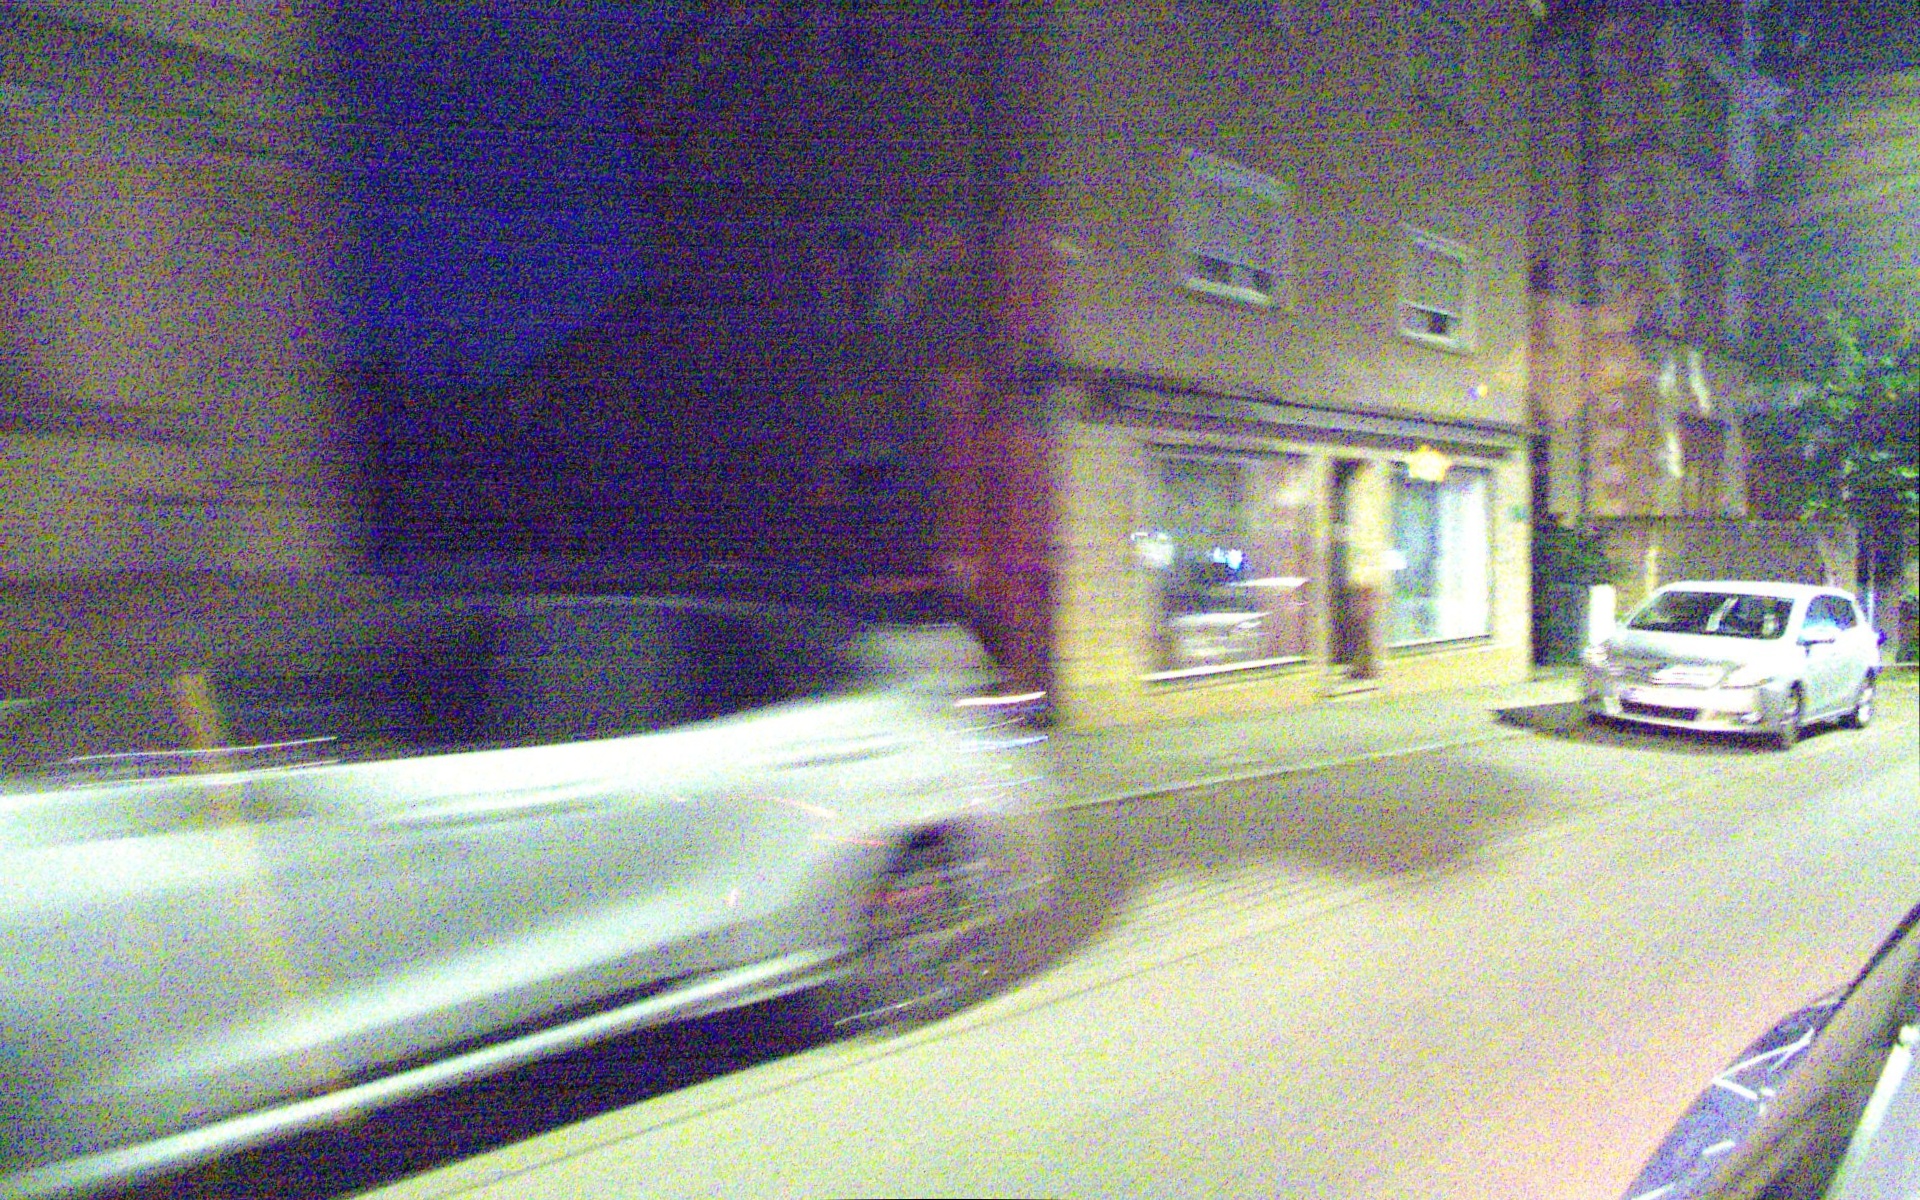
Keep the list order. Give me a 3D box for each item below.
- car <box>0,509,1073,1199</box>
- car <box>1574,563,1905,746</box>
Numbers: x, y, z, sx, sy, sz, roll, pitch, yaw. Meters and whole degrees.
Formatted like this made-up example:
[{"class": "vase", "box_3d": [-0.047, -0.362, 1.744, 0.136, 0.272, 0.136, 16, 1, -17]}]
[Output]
[{"class": "car", "box_3d": [-1.730, 0.565, 3.152, 3.973, 1.572, 1.865, 0, 3, -39]}, {"class": "car", "box_3d": [8.687, 0.476, 11.162, 4.277, 1.616, 1.744, 0, 3, -37]}]
